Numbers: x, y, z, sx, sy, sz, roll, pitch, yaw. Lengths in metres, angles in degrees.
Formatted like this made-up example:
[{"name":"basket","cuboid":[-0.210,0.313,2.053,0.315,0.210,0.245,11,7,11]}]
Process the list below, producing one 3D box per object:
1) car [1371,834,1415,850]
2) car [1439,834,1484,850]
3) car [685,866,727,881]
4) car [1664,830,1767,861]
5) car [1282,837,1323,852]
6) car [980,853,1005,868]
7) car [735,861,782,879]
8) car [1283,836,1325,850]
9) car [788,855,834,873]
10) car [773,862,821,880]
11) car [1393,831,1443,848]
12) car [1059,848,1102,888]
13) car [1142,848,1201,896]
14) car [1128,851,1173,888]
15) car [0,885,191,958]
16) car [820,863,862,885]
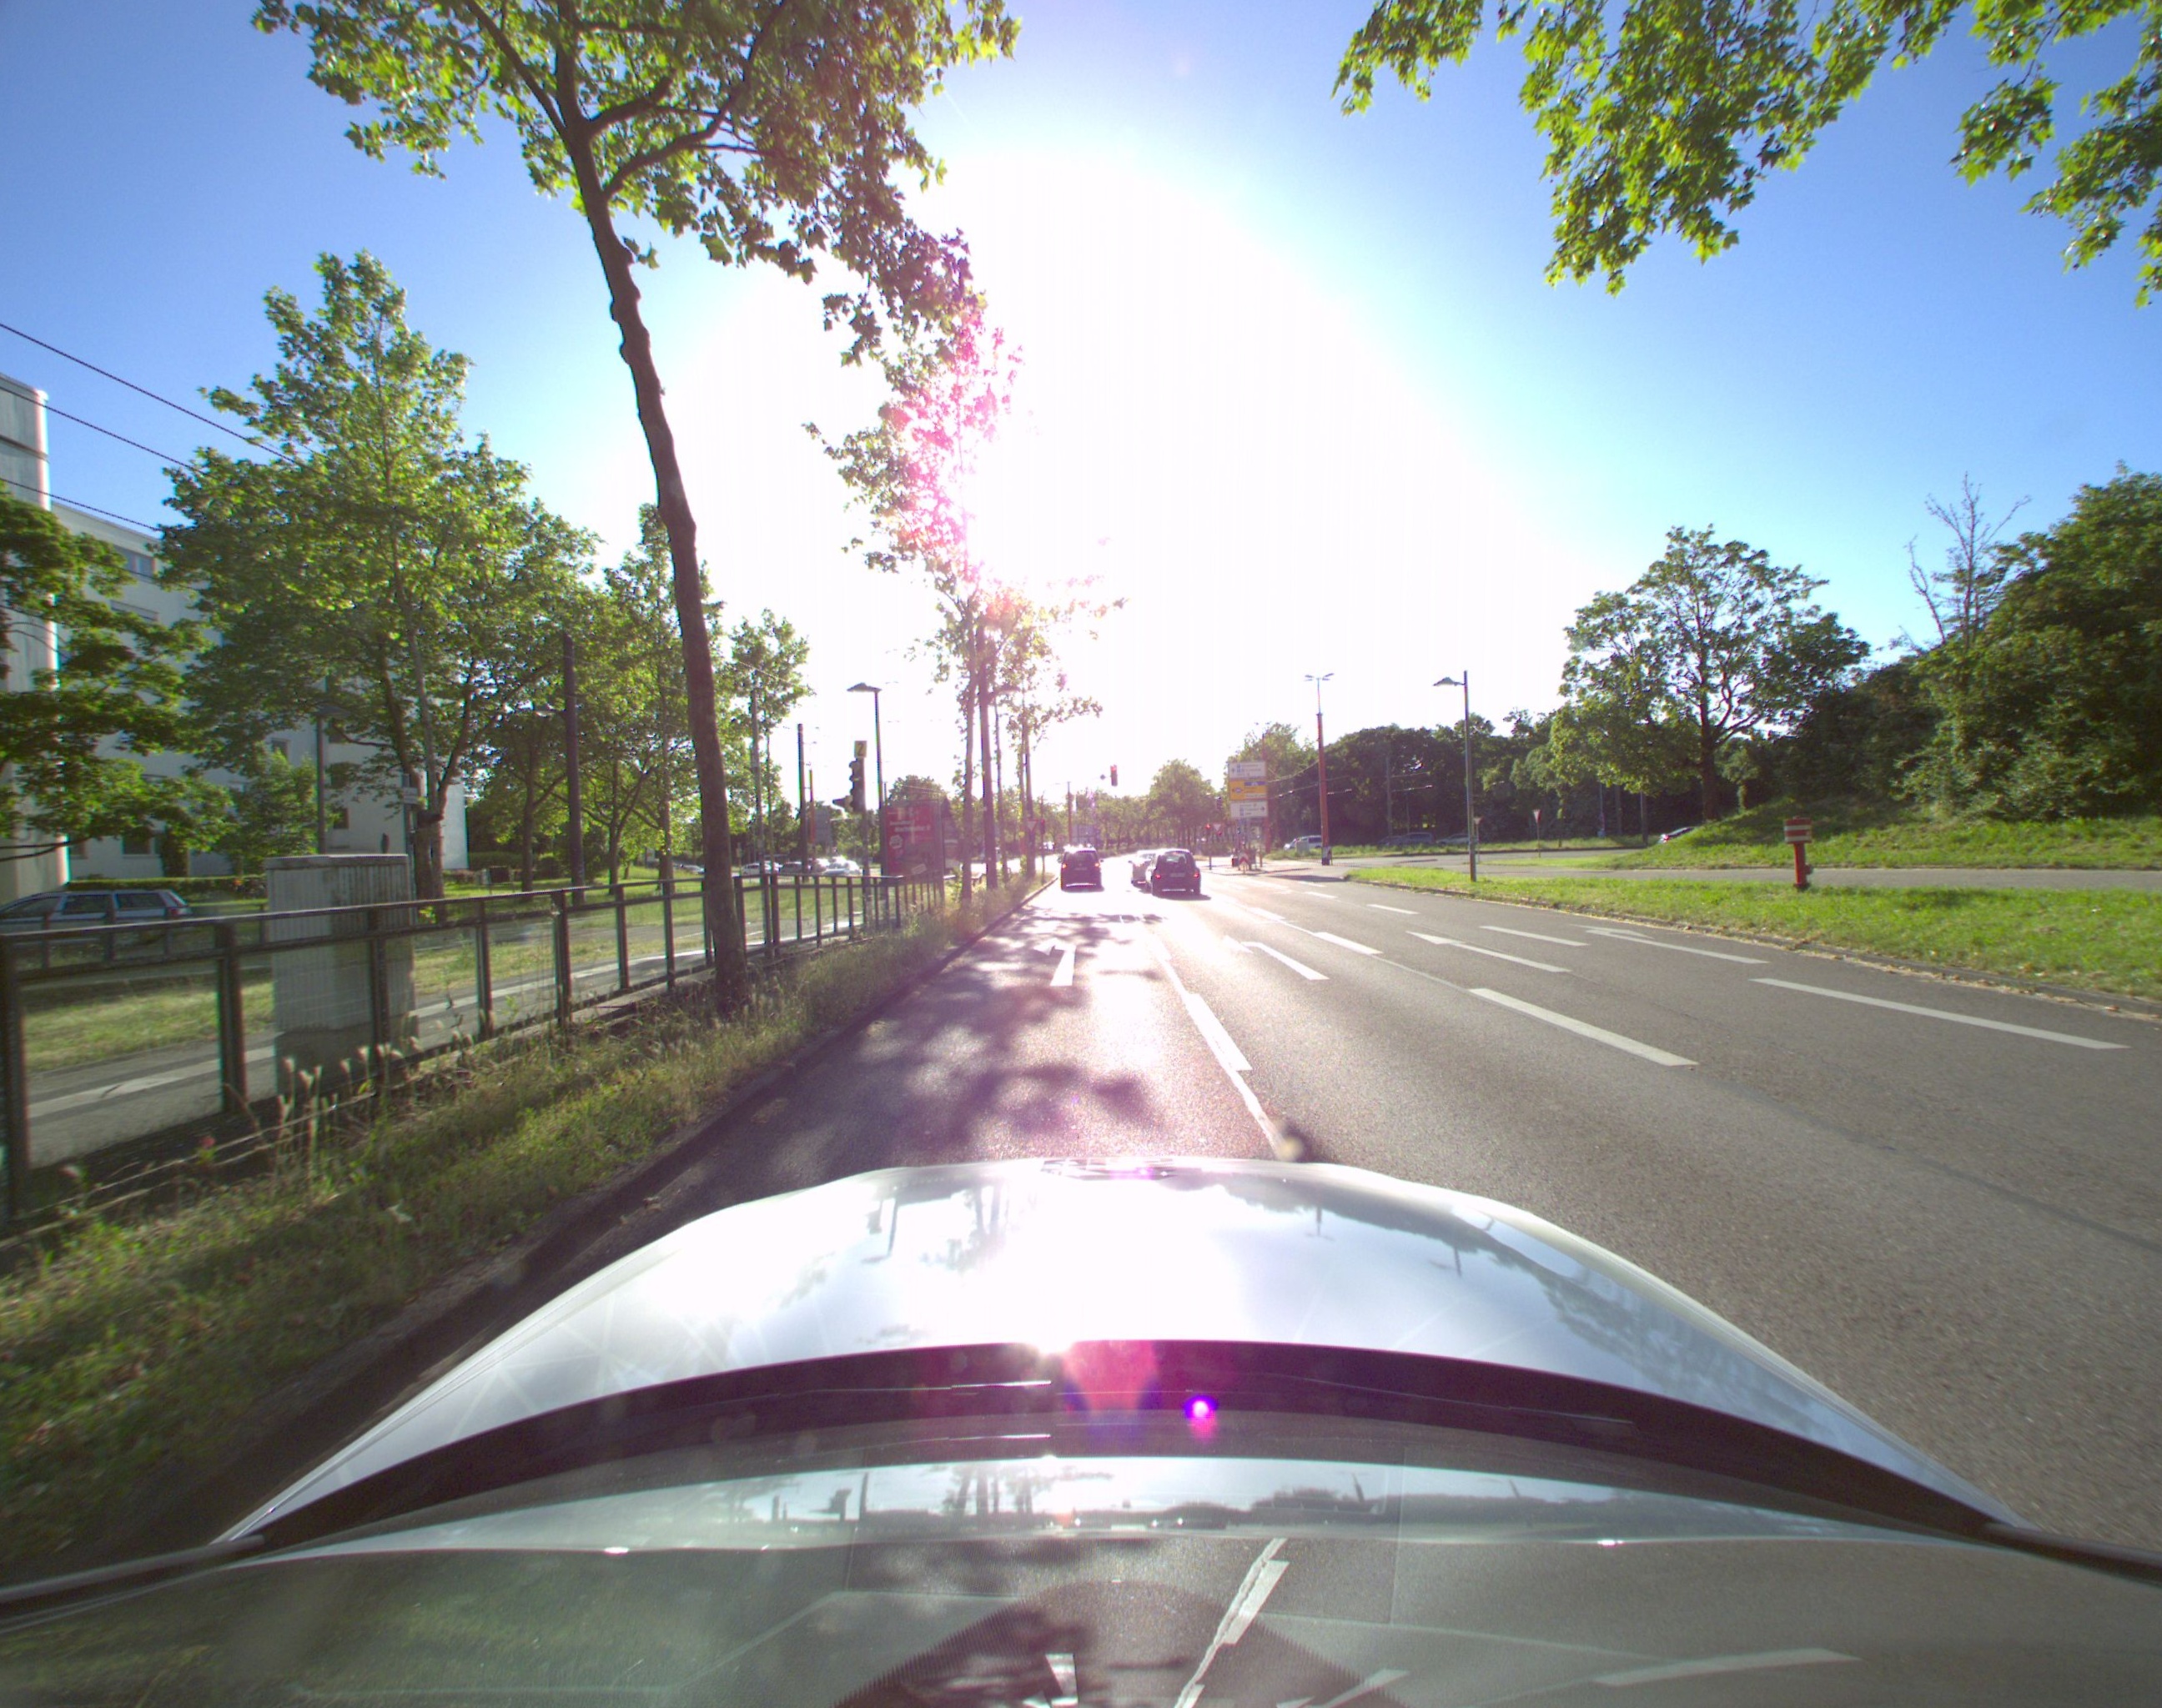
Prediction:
[{"name":"car","cuboid":[31.855,-1.191,83.110,3.950,1.561,1.911,-1,0,27]},{"name":"car","cuboid":[37.435,-1.197,80.158,3.950,1.495,1.872,-1,0,27]},{"name":"car","cuboid":[-42.016,2.183,91.165,4.001,1.436,1.825,-3,2,19]},{"name":"car","cuboid":[38.004,-0.486,48.947,4.557,1.792,2.000,-1,0,25]},{"name":"car","cuboid":[23.792,-1.000,87.502,3.950,1.476,1.800,-1,0,26]},{"name":"car","cuboid":[-10.909,0.816,100.756,1.812,1.780,4.579,-1,0,9]},{"name":"car","cuboid":[-34.942,1.704,88.153,4.448,1.610,1.910,-3,1,19]},{"name":"car","cuboid":[23.008,-1.152,84.105,3.950,1.338,1.739,-1,0,26]},{"name":"car","cuboid":[-29.551,1.109,89.079,4.448,1.610,1.910,-3,2,19]},{"name":"car","cuboid":[-29.925,1.826,85.736,4.448,1.610,1.910,-3,2,19]},{"name":"car","cuboid":[32.733,-1.375,79.069,4.311,1.559,1.883,-1,0,25]},{"name":"car","cuboid":[-0.017,0.563,34.420,1.705,1.603,3.349,-1,0,0]},{"name":"car","cuboid":[3.084,0.576,28.407,1.634,1.494,3.502,-1,1,0]},{"name":"car","cuboid":[2.942,0.634,35.070,1.672,1.475,4.132,-1,0,2]},{"name":"car","cuboid":[-23.983,1.563,19.178,3.942,1.476,1.612,-1,0,-43]},{"name":"car","cuboid":[-16.766,1.354,57.138,1.624,1.449,3.722,-1,0,3]}]
